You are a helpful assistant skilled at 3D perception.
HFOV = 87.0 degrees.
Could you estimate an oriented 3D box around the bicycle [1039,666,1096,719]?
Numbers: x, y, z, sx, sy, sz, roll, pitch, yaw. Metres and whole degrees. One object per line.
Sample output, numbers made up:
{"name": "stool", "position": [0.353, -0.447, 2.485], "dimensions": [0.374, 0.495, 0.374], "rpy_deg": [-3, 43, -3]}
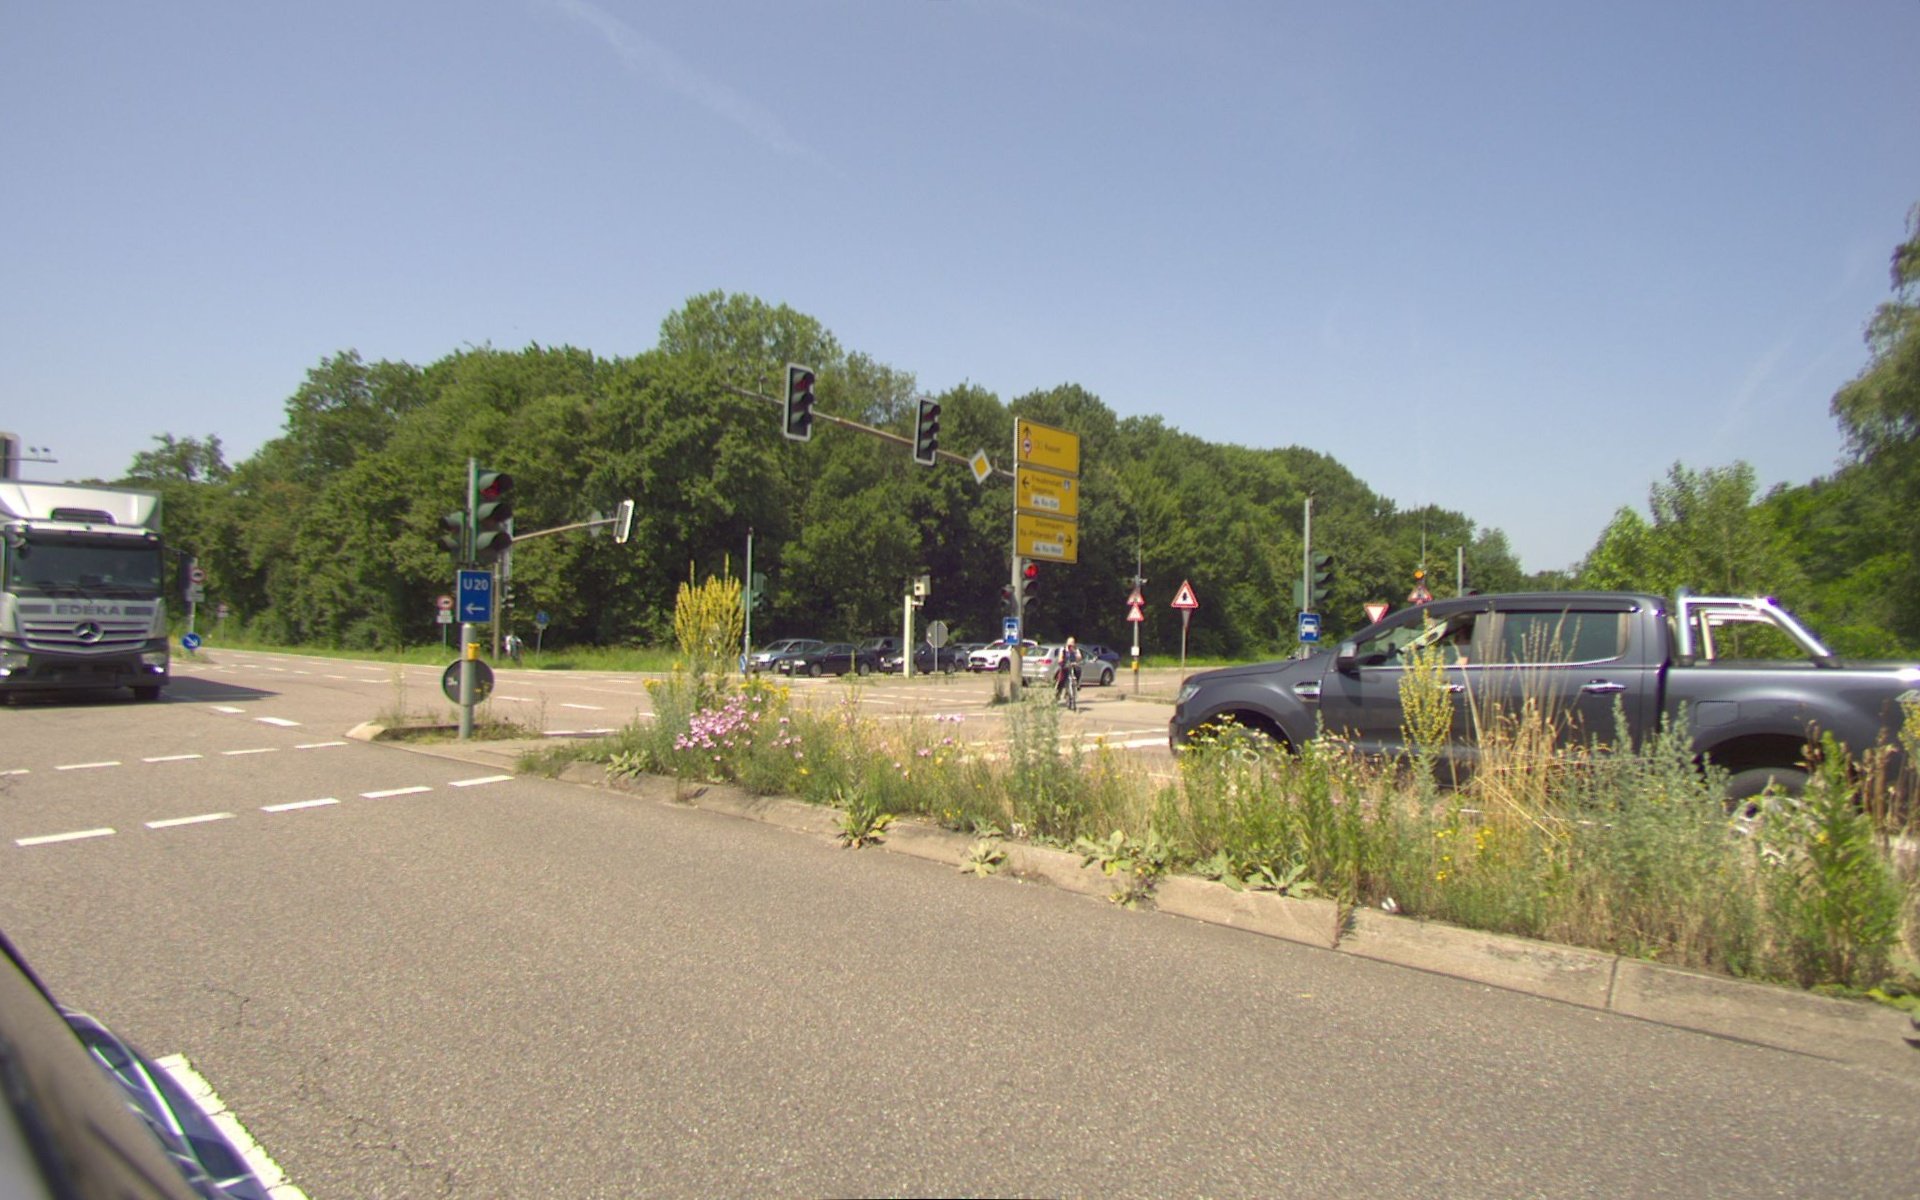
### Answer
{"name": "bicycle", "position": [2.351, 2.024, 22.367], "dimensions": [0.712, 1.071, 1.873], "rpy_deg": [2, -3, -11]}

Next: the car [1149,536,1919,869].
{"name": "car", "position": [4.177, 0.613, 7.139], "dimensions": [5.365, 1.691, 1.972], "rpy_deg": [-2, -5, 43]}

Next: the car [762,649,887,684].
{"name": "car", "position": [-5.408, 2.668, 40.934], "dimensions": [2.105, 1.300, 4.753], "rpy_deg": [-2, -4, 42]}

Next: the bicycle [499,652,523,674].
{"name": "bicycle", "position": [-19.356, 2.706, 43.609], "dimensions": [0.558, 0.930, 1.608], "rpy_deg": [3, -4, -38]}

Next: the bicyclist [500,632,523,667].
{"name": "bicyclist", "position": [-19.347, 2.136, 43.642], "dimensions": [0.651, 1.476, 0.811], "rpy_deg": [3, -4, -39]}

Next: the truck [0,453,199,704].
{"name": "truck", "position": [-18.470, -0.218, 20.327], "dimensions": [11.314, 3.914, 2.718], "rpy_deg": [-1, -2, 41]}

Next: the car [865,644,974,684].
{"name": "car", "position": [-1.764, 2.847, 45.121], "dimensions": [4.749, 1.648, 2.001], "rpy_deg": [4, -4, -45]}

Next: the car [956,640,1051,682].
{"name": "car", "position": [2.191, 2.994, 49.744], "dimensions": [2.066, 1.910, 4.753], "rpy_deg": [-2, -4, 42]}

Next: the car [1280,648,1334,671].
{"name": "car", "position": [26.441, 4.546, 77.020], "dimensions": [4.749, 1.648, 2.001], "rpy_deg": [4, -4, -45]}

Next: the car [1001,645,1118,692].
{"name": "car", "position": [3.409, 2.283, 34.403], "dimensions": [3.953, 1.402, 1.772], "rpy_deg": [1, -2, -42]}

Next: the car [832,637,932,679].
{"name": "car", "position": [-3.693, 2.782, 48.734], "dimensions": [1.999, 1.913, 4.754], "rpy_deg": [-1, -4, 41]}

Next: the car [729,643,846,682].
{"name": "car", "position": [-7.499, 2.737, 44.384], "dimensions": [2.129, 1.579, 4.754], "rpy_deg": [-2, -4, 42]}

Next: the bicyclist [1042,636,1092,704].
{"name": "bicyclist", "position": [2.365, 1.555, 22.452], "dimensions": [0.911, 1.471, 0.718], "rpy_deg": [1, -3, -11]}
